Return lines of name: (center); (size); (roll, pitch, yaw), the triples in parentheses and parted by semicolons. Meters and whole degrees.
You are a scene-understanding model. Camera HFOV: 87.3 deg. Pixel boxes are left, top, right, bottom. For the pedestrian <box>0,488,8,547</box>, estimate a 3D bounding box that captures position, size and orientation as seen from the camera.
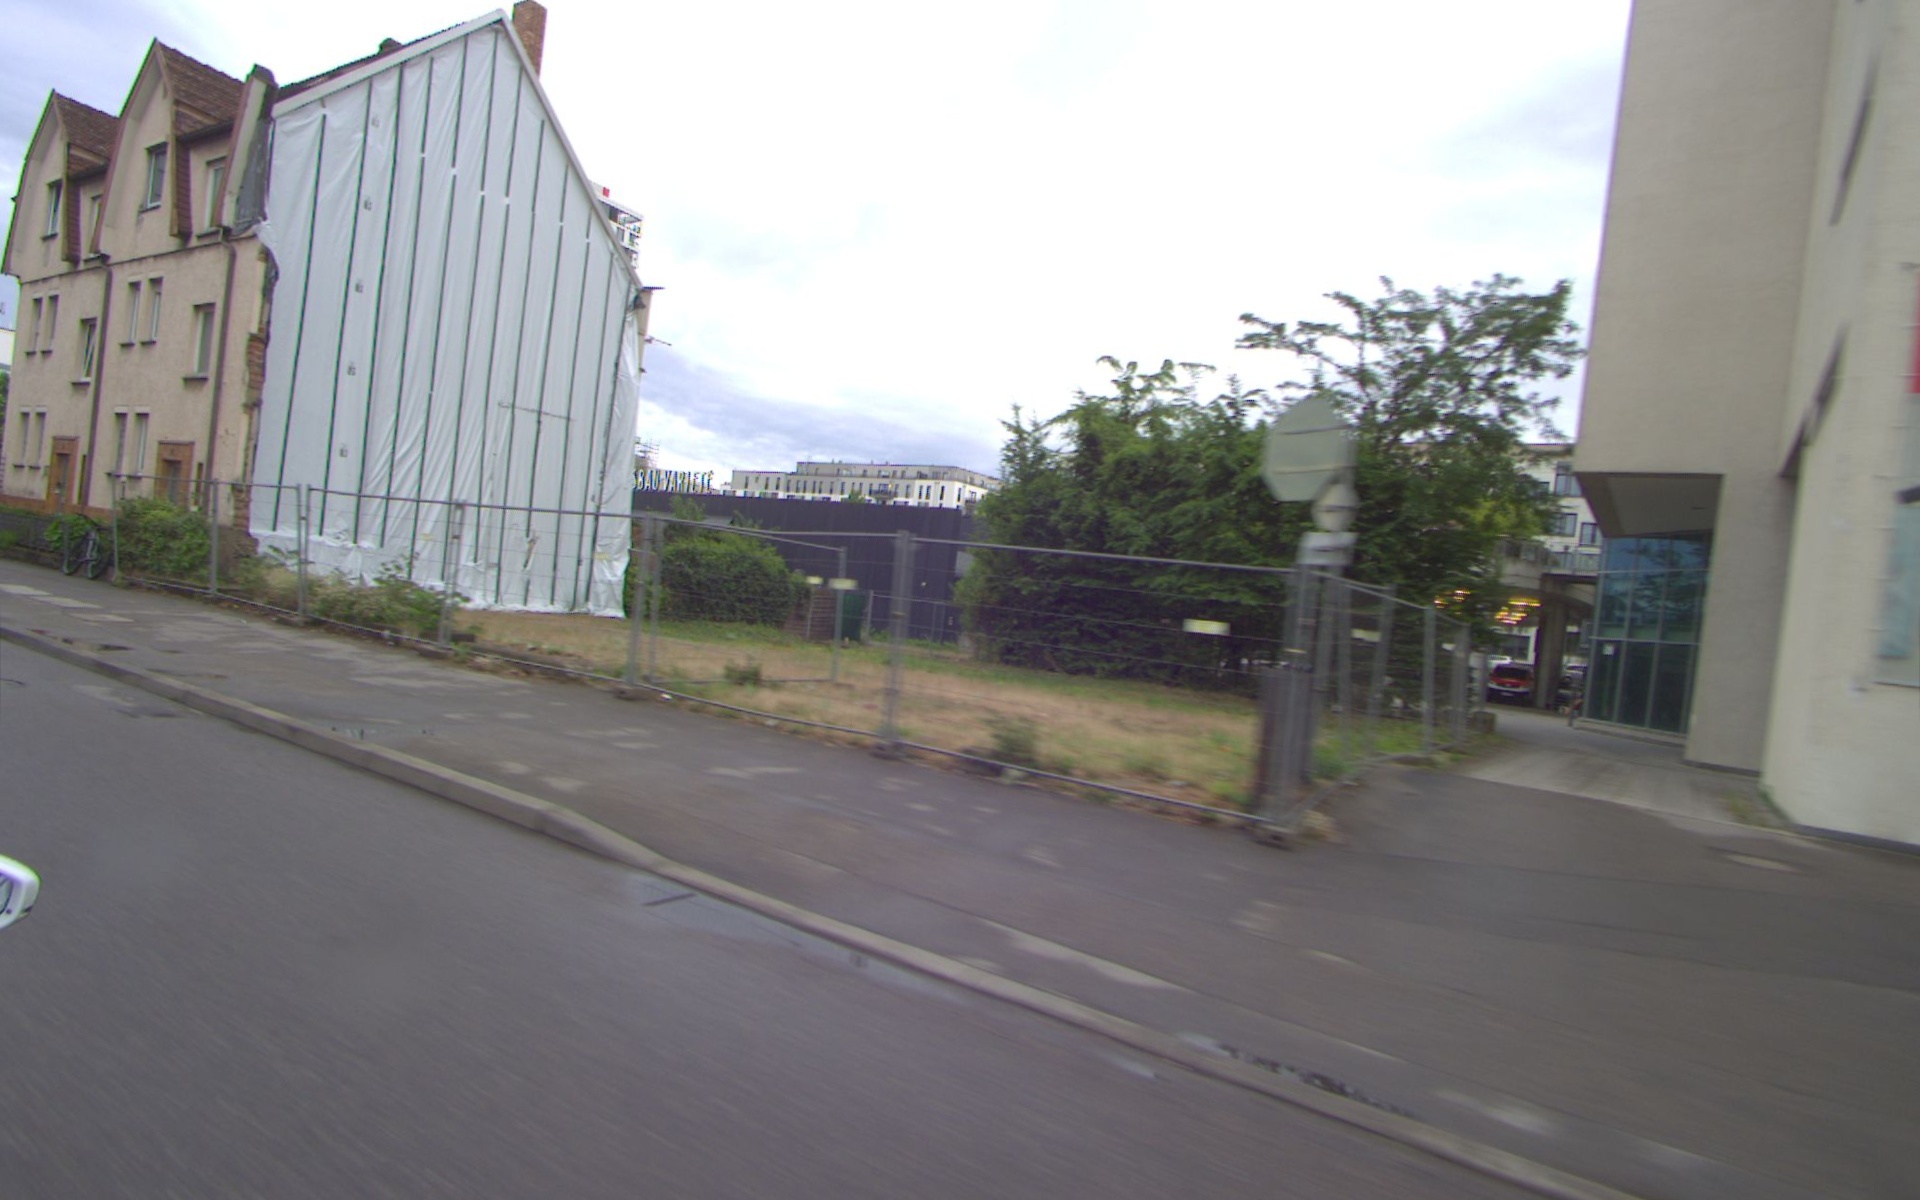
pedestrian: (-26.767, -2.224, 27.479); (0.757, 1.784, 0.909); (7, -1, 44)
